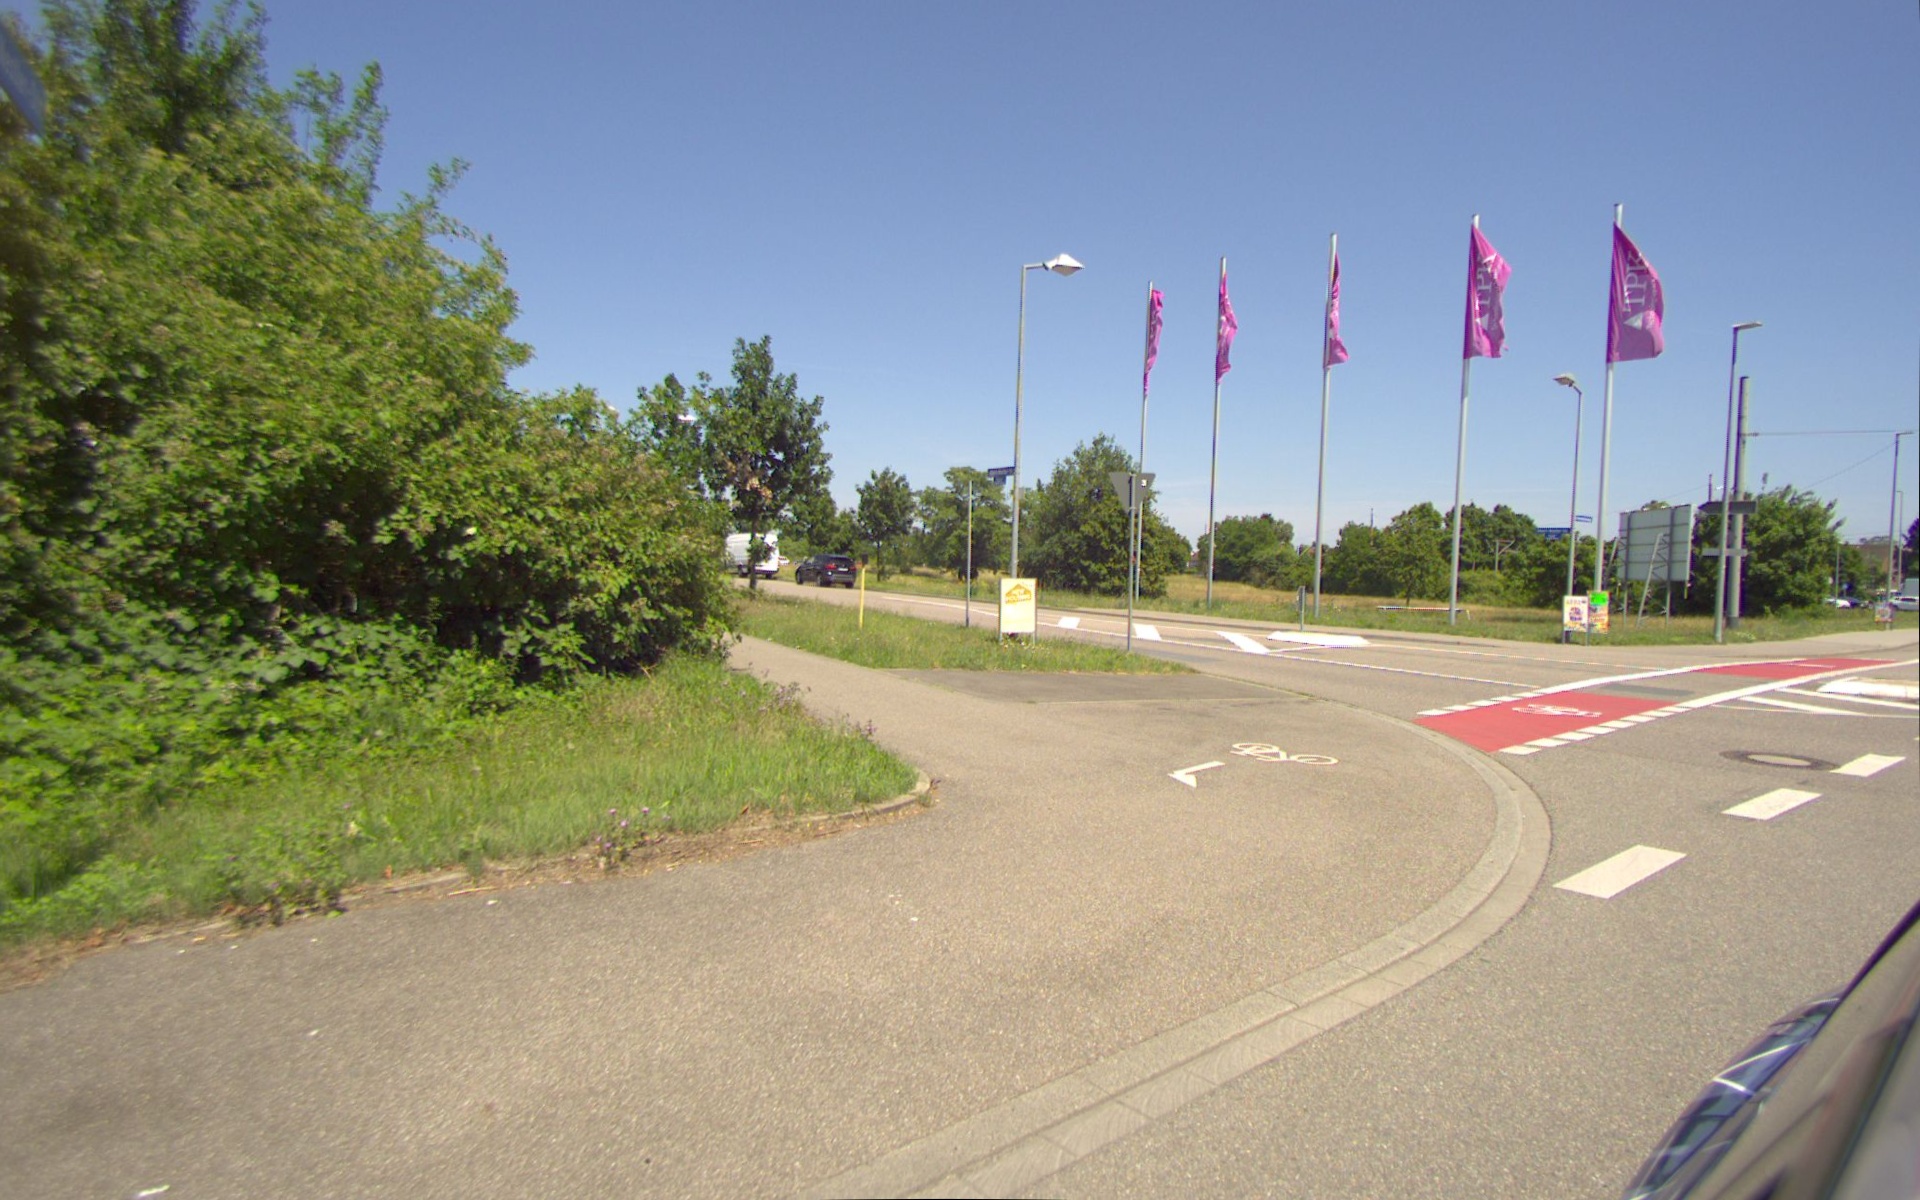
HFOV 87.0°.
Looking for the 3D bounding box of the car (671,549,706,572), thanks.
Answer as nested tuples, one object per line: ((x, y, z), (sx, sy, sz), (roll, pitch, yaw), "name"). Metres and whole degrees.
((-19.665, -2.866, 73.322), (1.671, 1.552, 3.633), (1, 0, -28), "car")

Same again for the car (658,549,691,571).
((-22.039, -3.062, 78.037), (1.671, 1.552, 3.633), (1, 0, -28), "car")

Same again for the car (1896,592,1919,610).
((89.627, 0.155, 93.499), (1.837, 1.595, 4.420), (3, 2, -8), "car")

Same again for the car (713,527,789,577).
((-12.792, -2.894, 61.515), (2.614, 2.836, 6.863), (0, 2, -29), "car")

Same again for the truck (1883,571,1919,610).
((93.008, -0.825, 96.157), (2.535, 3.576, 7.726), (4, 1, -8), "truck")

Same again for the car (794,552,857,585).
((-6.645, -1.517, 49.828), (1.673, 1.552, 3.629), (1, 0, -33), "car")

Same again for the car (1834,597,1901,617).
((84.979, 0.618, 94.869), (1.837, 1.595, 4.420), (3, 2, -8), "car")
